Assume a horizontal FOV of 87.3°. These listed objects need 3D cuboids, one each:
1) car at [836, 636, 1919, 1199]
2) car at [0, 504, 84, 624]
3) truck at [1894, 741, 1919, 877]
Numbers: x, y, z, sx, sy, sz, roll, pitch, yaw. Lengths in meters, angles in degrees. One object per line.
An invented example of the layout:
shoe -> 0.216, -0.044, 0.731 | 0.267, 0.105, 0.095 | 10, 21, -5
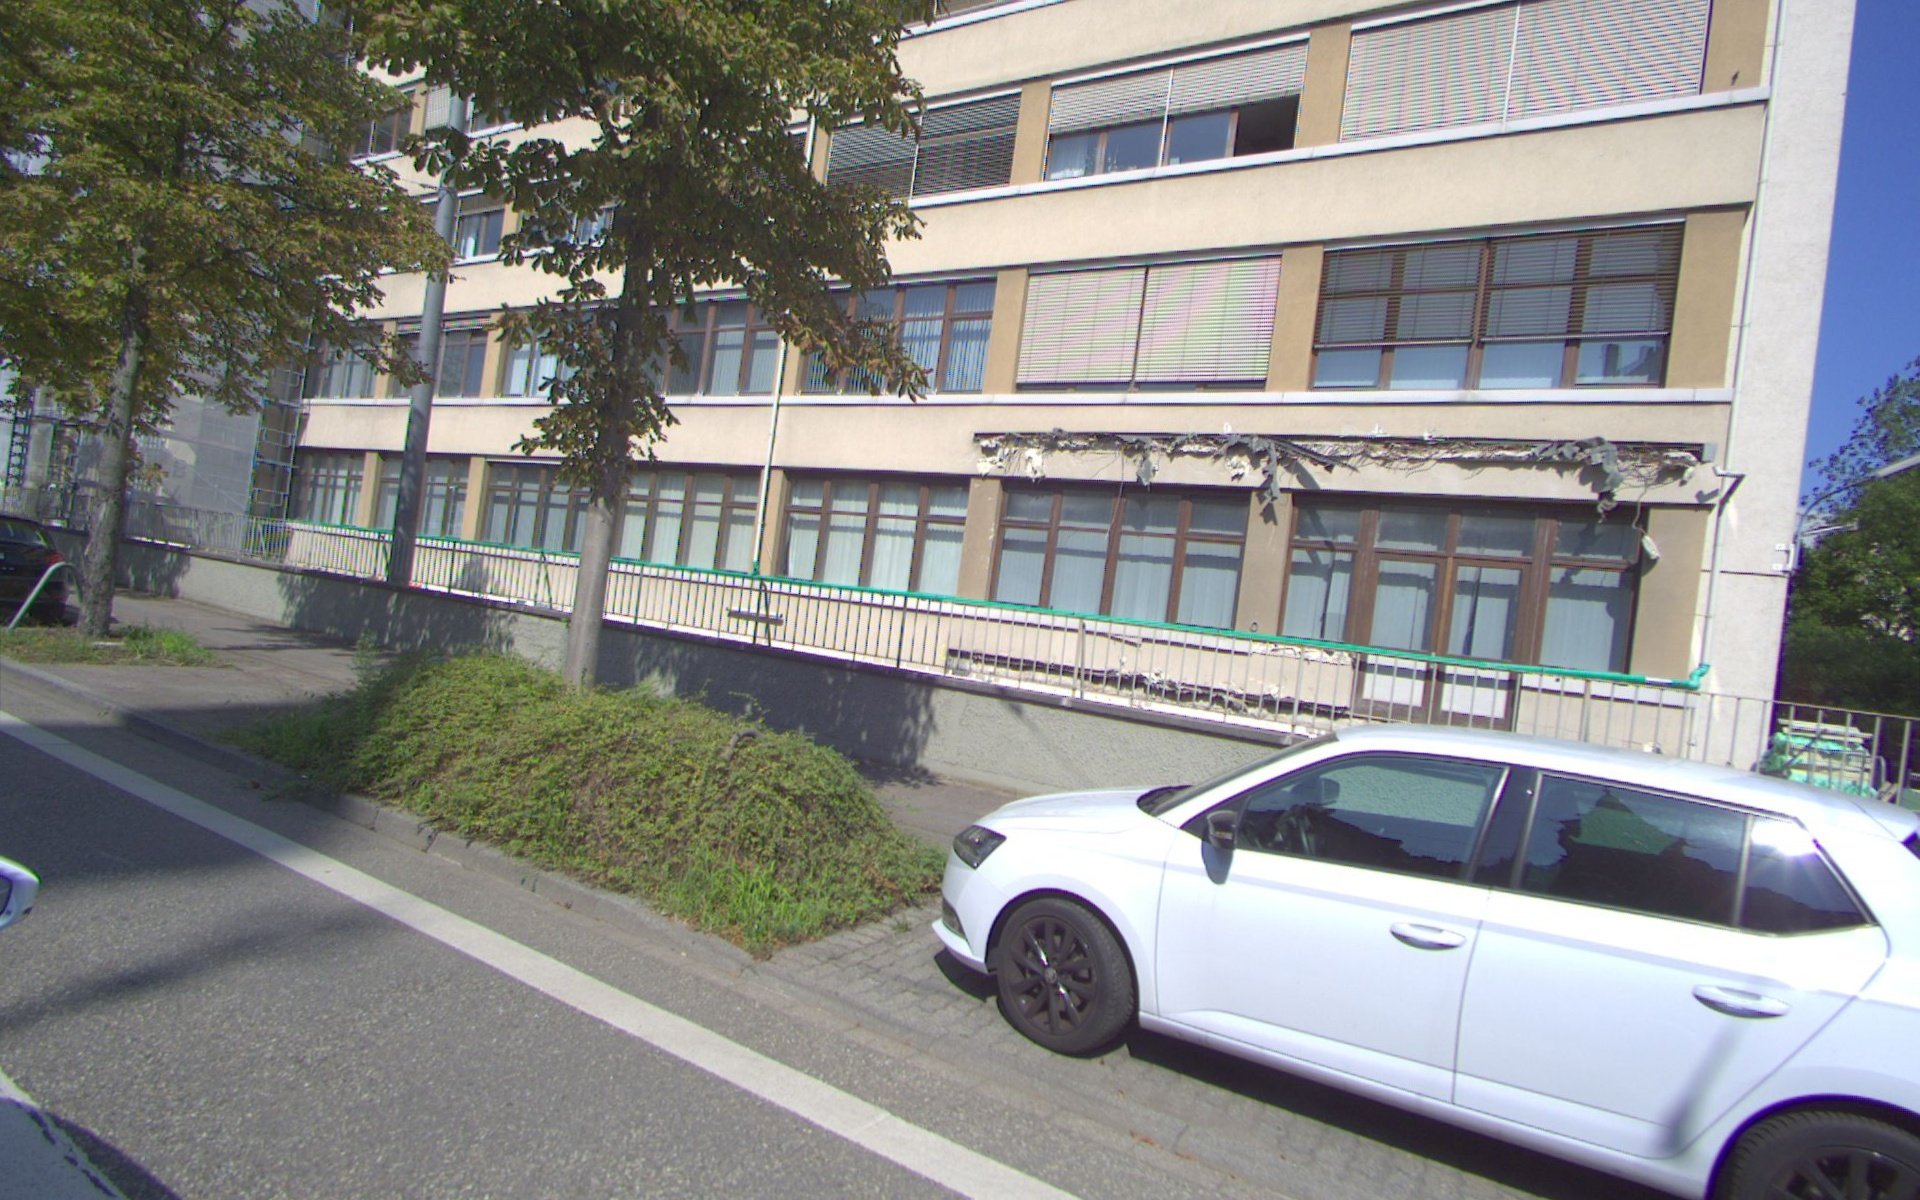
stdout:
car -> 1.709, 1.185, 4.104 | 4.147, 1.498, 1.662 | 7, -1, 32
car -> -13.642, -0.670, 13.468 | 4.147, 1.424, 1.662 | 7, -1, 32
truck -> 17.073, 3.597, 15.852 | 2.261, 2.352, 5.518 | 7, -3, 33
